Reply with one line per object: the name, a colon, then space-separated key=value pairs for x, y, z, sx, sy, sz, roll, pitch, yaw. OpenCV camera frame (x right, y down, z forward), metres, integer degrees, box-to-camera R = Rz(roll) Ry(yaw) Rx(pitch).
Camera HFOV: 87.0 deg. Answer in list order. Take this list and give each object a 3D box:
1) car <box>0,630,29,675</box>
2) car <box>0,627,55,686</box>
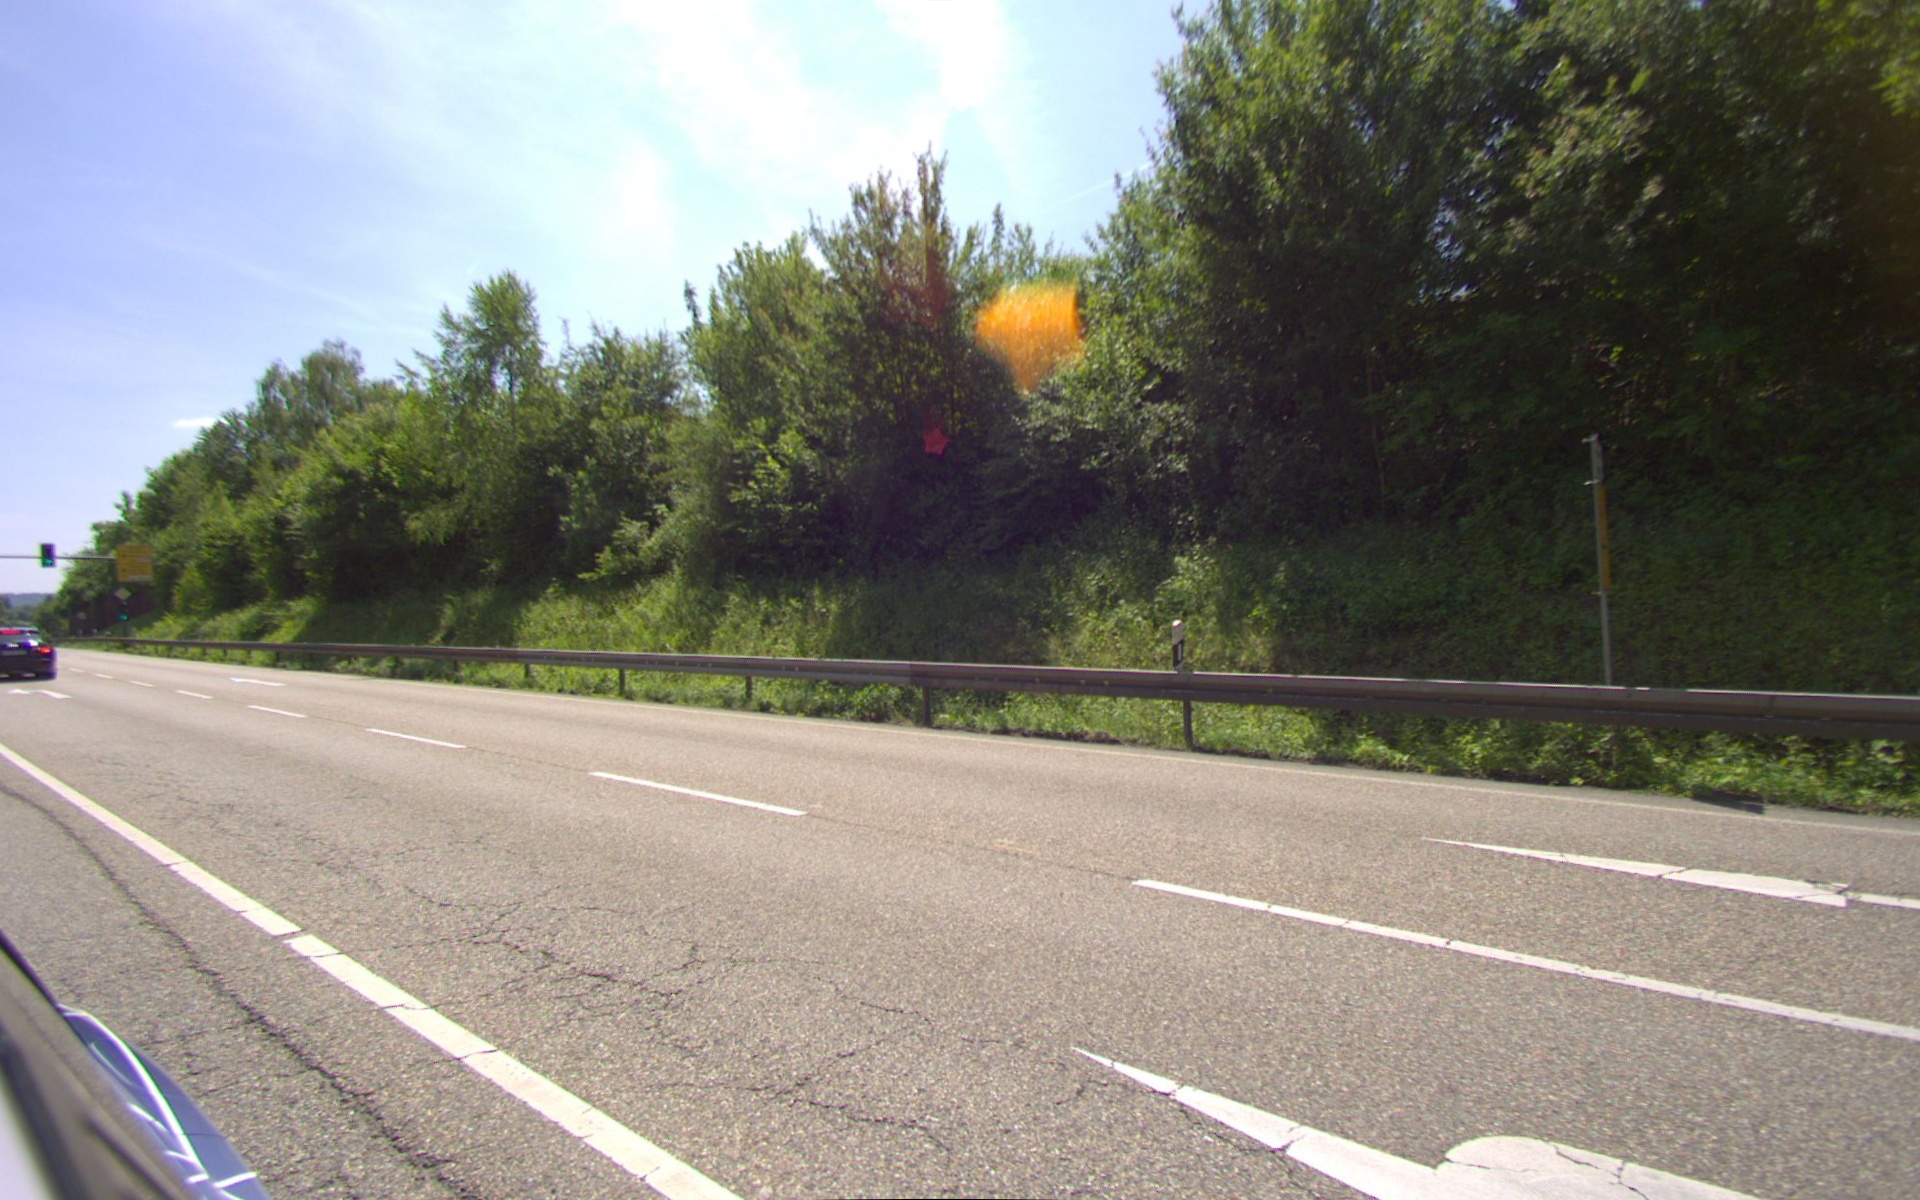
car: x=-32.112 y=1.733 z=33.533 sx=1.662 sy=1.425 sz=4.183 roll=1 pitch=-3 yaw=-45
car: x=-26.164 y=1.516 z=27.630 sx=4.386 sy=1.464 sz=1.784 roll=-2 pitch=-1 yaw=43
